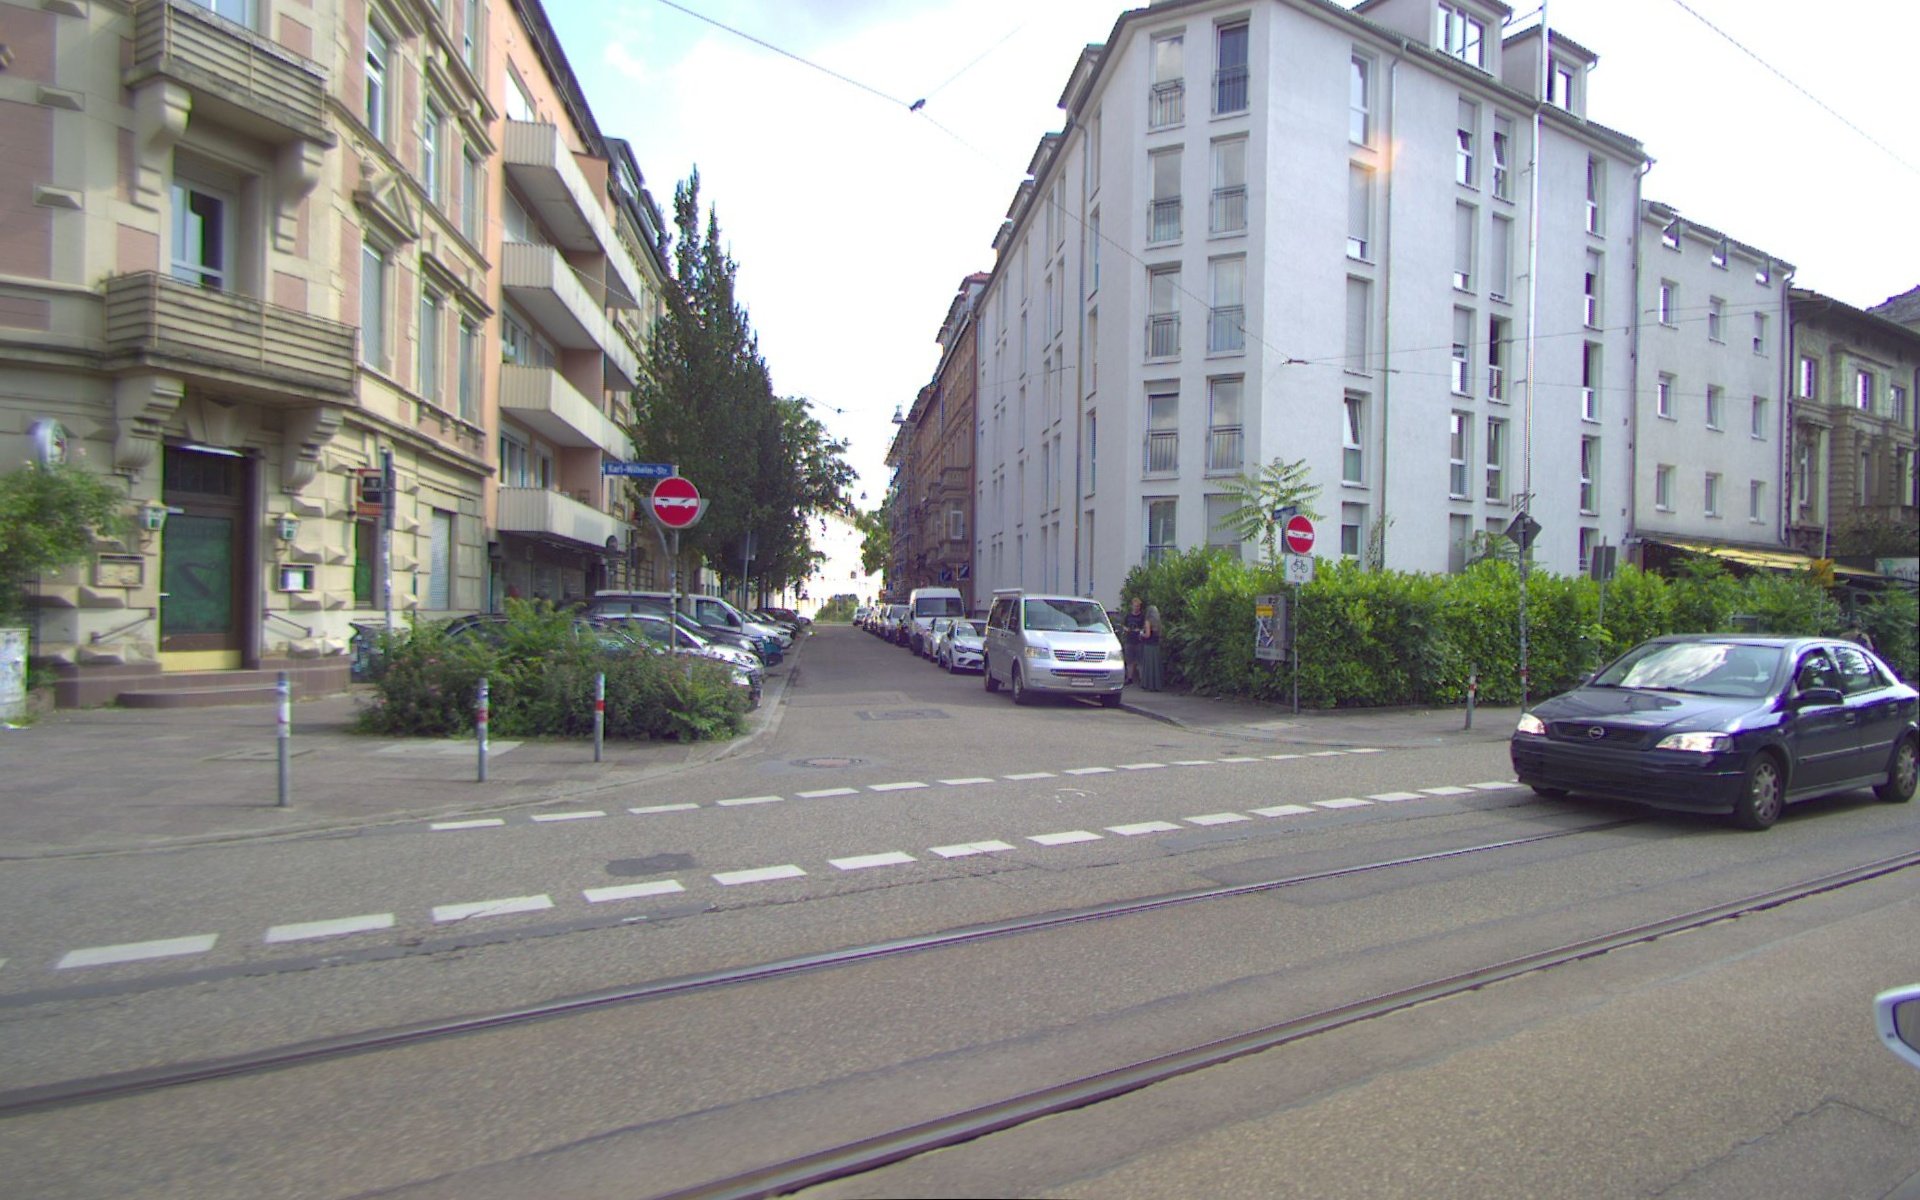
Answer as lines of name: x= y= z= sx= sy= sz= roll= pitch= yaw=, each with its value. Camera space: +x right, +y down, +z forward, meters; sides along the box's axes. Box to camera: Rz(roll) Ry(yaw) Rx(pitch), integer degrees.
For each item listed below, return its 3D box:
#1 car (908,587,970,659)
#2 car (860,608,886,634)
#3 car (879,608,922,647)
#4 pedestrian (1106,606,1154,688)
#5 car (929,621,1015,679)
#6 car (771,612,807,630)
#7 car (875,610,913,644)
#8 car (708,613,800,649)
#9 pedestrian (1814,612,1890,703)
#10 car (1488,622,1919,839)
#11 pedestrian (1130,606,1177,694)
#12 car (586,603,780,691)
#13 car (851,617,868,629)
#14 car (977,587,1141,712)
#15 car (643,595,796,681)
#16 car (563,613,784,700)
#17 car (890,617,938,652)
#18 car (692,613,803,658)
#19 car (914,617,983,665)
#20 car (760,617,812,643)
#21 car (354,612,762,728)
car: x=-0.873 y=0.841 z=38.569 sx=2.102 sy=2.541 sz=5.672 roll=1 pitch=-1 yaw=-4
car: x=-6.469 y=1.536 z=74.402 sx=1.629 sy=1.861 sz=4.161 roll=1 pitch=-1 yaw=-9
car: x=-3.040 y=1.365 z=50.742 sx=1.629 sy=1.861 sz=3.992 roll=1 pitch=-1 yaw=-11
pedestrian: x=3.618 y=0.987 z=21.374 sx=0.772 sy=1.721 sz=0.633 roll=1 pitch=0 yaw=-18
car: x=0.264 y=1.333 z=28.045 sx=1.629 sy=1.434 sz=3.992 roll=1 pitch=-1 yaw=-11
car: x=-13.612 y=1.667 z=80.049 sx=2.769 sy=1.384 sz=1.274 roll=1 pitch=0 yaw=-7
car: x=-3.841 y=1.528 z=57.927 sx=1.629 sy=1.861 sz=4.159 roll=1 pitch=-1 yaw=-11
car: x=-8.933 y=1.340 z=43.780 sx=3.698 sy=1.419 sz=1.674 roll=2 pitch=0 yaw=-7
pedestrian: x=19.814 y=1.261 z=22.329 sx=0.820 sy=1.943 sz=1.054 roll=1 pitch=0 yaw=-30
car: x=6.480 y=0.939 z=8.527 sx=4.081 sy=1.426 sz=1.620 roll=1 pitch=0 yaw=-30
pedestrian: x=3.866 y=0.994 z=20.097 sx=0.775 sy=1.721 sz=0.479 roll=1 pitch=0 yaw=-30
car: x=-5.785 y=0.974 z=21.413 sx=3.698 sy=1.729 sz=1.891 roll=1 pitch=0 yaw=-7
car: x=-9.581 y=2.166 z=95.799 sx=1.377 sy=1.093 sz=3.522 roll=1 pitch=-1 yaw=-9
car: x=1.690 y=0.860 z=19.015 sx=2.012 sy=2.040 sz=4.940 roll=1 pitch=-1 yaw=-7
car: x=-5.968 y=0.927 z=25.230 sx=3.519 sy=2.022 sz=1.703 roll=1 pitch=0 yaw=-7
car: x=-5.297 y=1.045 z=18.995 sx=3.698 sy=1.419 sz=1.891 roll=2 pitch=0 yaw=-7
car: x=-2.132 y=1.539 z=45.319 sx=1.629 sy=1.434 sz=3.992 roll=1 pitch=-1 yaw=-11
car: x=-7.624 y=1.259 z=36.311 sx=3.698 sy=1.419 sz=1.891 roll=2 pitch=0 yaw=-7
car: x=-0.447 y=1.320 z=33.332 sx=1.629 sy=1.434 sz=3.992 roll=1 pitch=-1 yaw=-11
car: x=-9.773 y=1.687 z=56.542 sx=2.769 sy=1.384 sz=1.274 roll=1 pitch=0 yaw=-7
car: x=-5.393 y=0.913 z=13.939 sx=4.864 sy=1.383 sz=1.893 roll=1 pitch=0 yaw=0
